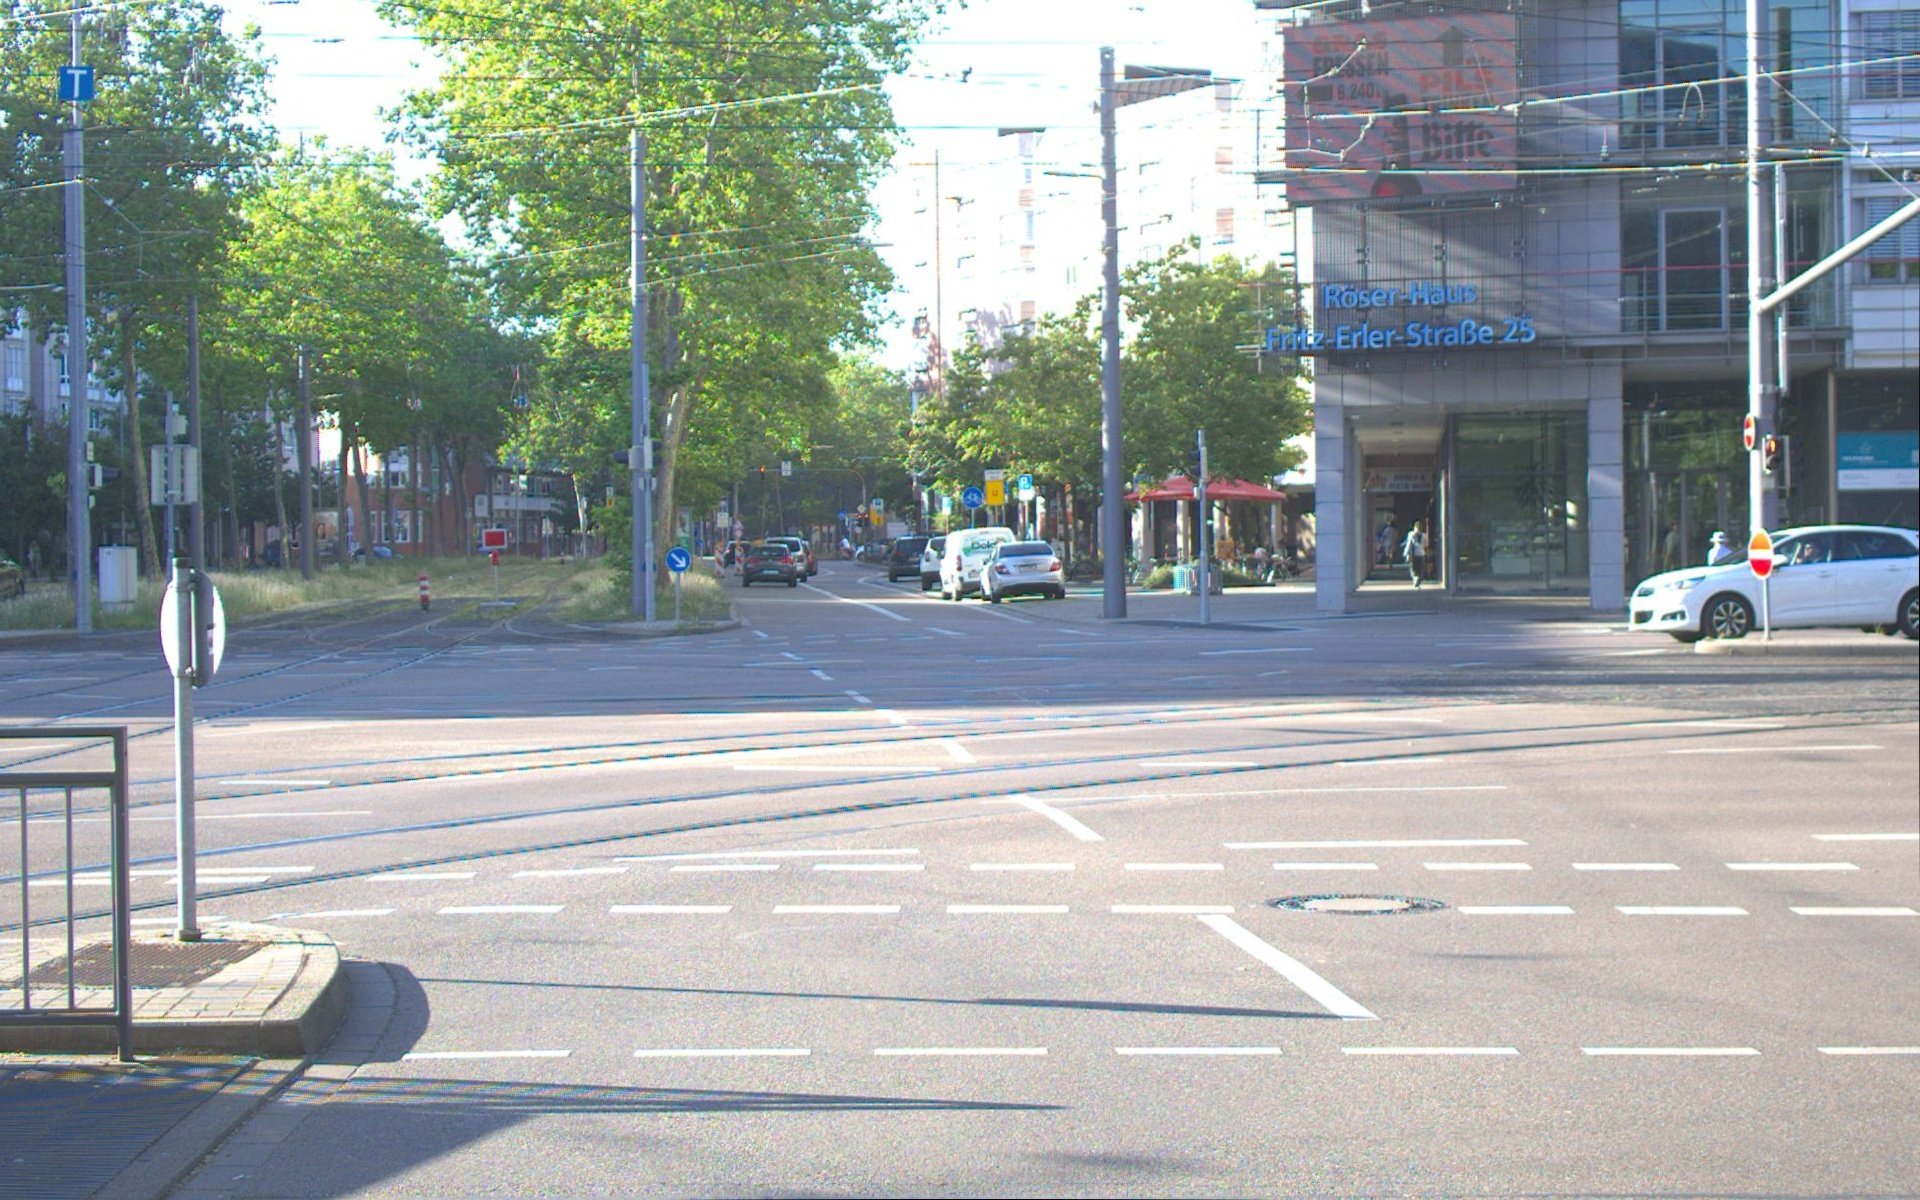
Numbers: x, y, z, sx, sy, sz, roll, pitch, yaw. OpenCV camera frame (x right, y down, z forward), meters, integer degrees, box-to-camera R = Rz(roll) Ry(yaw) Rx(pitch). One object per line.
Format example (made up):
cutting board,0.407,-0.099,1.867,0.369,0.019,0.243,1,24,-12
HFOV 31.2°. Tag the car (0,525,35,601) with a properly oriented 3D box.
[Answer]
car,-21.666,-0.797,74.905,1.993,1.634,4.000,-1,1,-1

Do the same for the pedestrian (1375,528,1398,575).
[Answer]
pedestrian,15.605,-1.787,125.736,0.744,1.708,0.612,-1,1,-1

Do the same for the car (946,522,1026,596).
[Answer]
car,0.647,-1.090,89.553,1.993,1.853,4.000,-1,1,-1

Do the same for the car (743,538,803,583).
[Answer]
car,-6.191,-1.334,114.111,1.797,1.437,4.000,-1,1,-1

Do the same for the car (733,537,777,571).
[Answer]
car,-8.745,-1.963,147.033,1.797,1.437,4.000,1,1,-2

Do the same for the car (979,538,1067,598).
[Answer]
car,1.492,-0.781,82.757,1.993,1.371,4.000,-1,1,-1

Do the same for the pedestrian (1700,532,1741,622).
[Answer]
pedestrian,12.797,-0.395,57.863,0.612,1.502,0.579,-1,1,7

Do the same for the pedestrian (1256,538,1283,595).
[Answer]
pedestrian,9.446,-1.027,105.048,0.744,1.708,0.612,-1,1,-1

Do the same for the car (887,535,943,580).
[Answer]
car,-1.644,-1.589,126.649,1.993,1.612,4.000,-1,1,0

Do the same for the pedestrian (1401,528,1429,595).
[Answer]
pedestrian,10.396,-0.880,78.493,0.612,1.502,0.579,-1,1,7

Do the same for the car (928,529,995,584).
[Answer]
car,0.035,-1.352,105.198,1.993,1.612,4.000,-1,1,0

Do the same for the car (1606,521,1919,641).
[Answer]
car,10.789,-0.266,44.850,4.294,1.483,1.762,-1,1,-6
